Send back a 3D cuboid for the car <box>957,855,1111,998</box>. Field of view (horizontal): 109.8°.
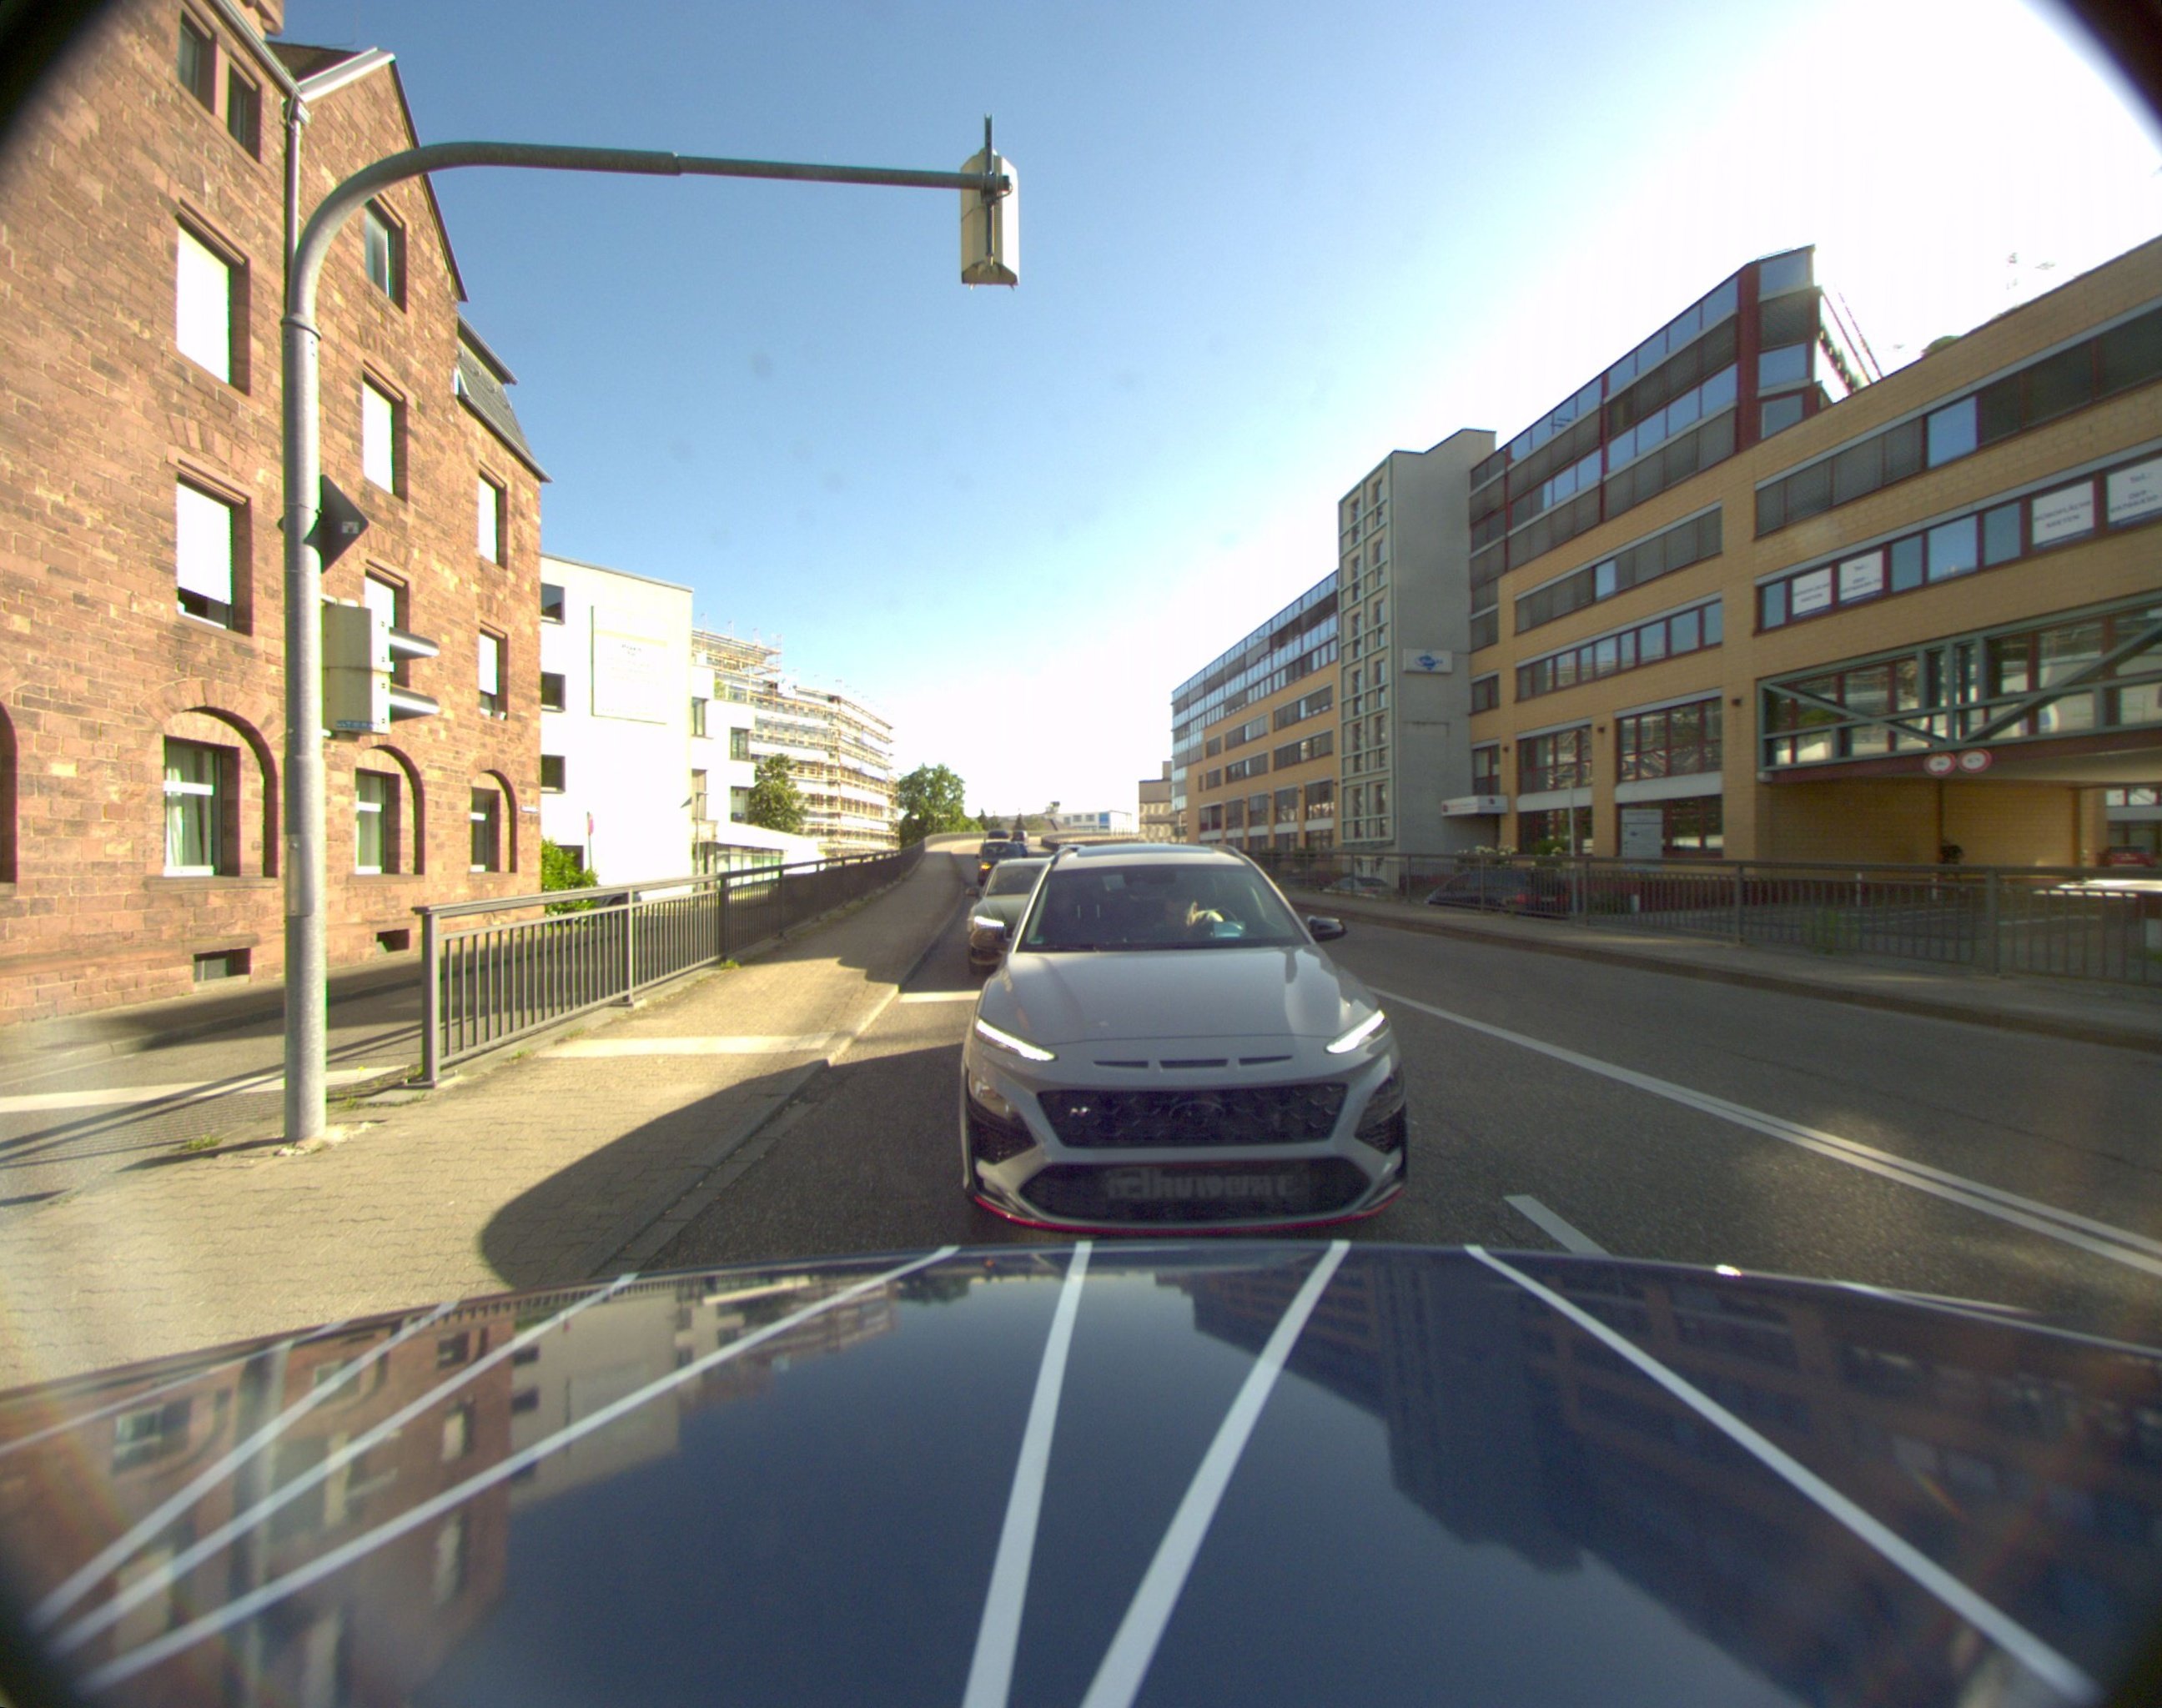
[{"bbox_3d":[-0.597,0.836,10.759,1.721,1.483,4.167,-1,2,-2],"label":"car"}]

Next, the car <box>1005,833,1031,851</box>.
[{"bbox_3d":[-5.711,-1.067,68.304,1.826,1.494,4.446,0,1,-11],"label":"car"}]

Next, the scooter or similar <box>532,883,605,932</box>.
[{"bbox_3d":[-14.273,1.476,21.197,1.463,1.212,0.784,-3,1,-14],"label":"scooter or similar"}]

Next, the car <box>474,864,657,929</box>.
[{"bbox_3d":[-16.980,1.305,25.212,1.823,1.757,4.658,1,2,42],"label":"car"}]

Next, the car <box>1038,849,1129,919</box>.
[{"bbox_3d":[-0.053,0.692,20.192,1.850,1.527,4.504,-1,2,-7],"label":"car"}]

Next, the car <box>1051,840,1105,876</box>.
[{"bbox_3d":[-0.216,0.262,38.900,1.840,1.643,4.625,-4,-1,-11],"label":"car"}]

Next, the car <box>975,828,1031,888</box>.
[{"bbox_3d":[-3.338,0.087,31.844,1.911,2.202,4.592,-1,3,-11],"label":"car"}]

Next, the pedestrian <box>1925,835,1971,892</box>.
[{"bbox_3d":[28.252,0.302,24.771,0.787,1.833,0.678,0,0,-12],"label":"pedestrian"}]

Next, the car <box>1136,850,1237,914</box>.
[{"bbox_3d":[2.785,0.696,20.991,1.692,1.449,3.908,0,3,-9],"label":"car"}]

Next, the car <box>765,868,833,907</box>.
[{"bbox_3d":[-13.044,1.497,35.420,1.850,1.422,4.678,-1,2,-6],"label":"car"}]

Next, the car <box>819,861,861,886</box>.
[{"bbox_3d":[-15.527,1.243,49.167,1.850,1.526,3.997,0,0,-7],"label":"car"}]

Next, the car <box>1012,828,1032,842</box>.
[{"bbox_3d":[-8.427,-2.709,109.336,1.997,1.924,4.855,0,0,7],"label":"car"}]

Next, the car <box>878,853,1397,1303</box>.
[{"bbox_3d":[0.243,0.816,4.850,1.849,1.561,4.220,-1,1,1],"label":"car"}]

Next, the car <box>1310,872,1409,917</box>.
[{"bbox_3d":[11.085,1.565,30.594,1.826,1.594,4.353,0,0,-10],"label":"car"}]

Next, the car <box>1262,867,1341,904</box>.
[{"bbox_3d":[10.295,1.425,35.821,1.826,1.594,4.353,0,0,-10],"label":"car"}]

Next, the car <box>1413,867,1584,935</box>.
[{"bbox_3d":[12.405,1.306,23.011,1.957,1.747,4.683,-1,0,-11],"label":"car"}]

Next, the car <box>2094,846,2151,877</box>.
[{"bbox_3d":[53.698,0.391,39.204,3.159,1.564,1.639,0,-1,-38],"label":"car"}]
